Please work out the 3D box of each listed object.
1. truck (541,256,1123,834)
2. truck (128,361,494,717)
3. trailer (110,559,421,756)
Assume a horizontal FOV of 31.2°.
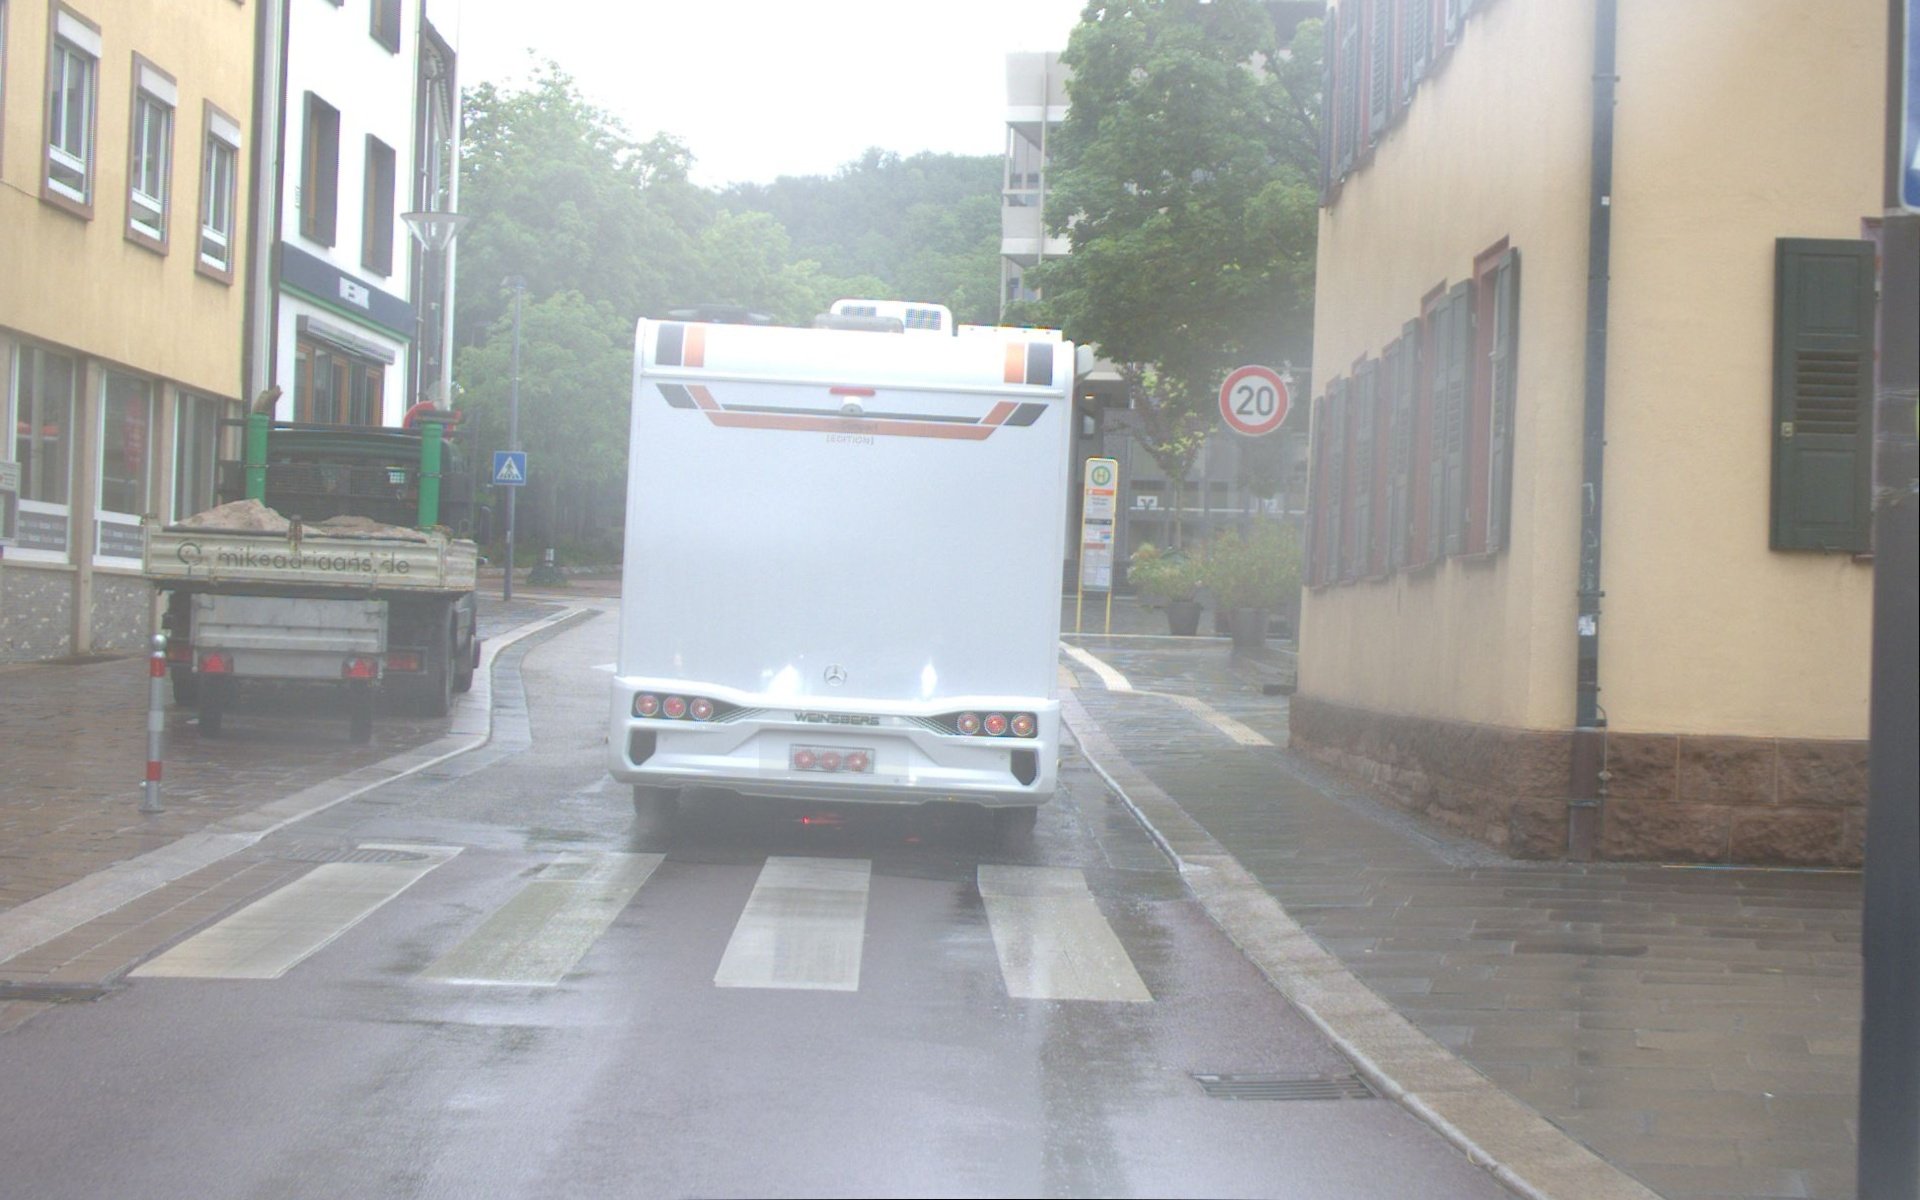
[{"bbox_3d":[-0.626,-0.286,19.837,2.805,2.787,6.107,1,0,0],"label":"truck"},{"bbox_3d":[-5.289,-0.618,28.935,2.399,2.585,6.485,2,3,-6],"label":"truck"},{"bbox_3d":[-4.827,0.366,24.245,1.852,1.120,3.021,2,3,-6],"label":"trailer"}]
